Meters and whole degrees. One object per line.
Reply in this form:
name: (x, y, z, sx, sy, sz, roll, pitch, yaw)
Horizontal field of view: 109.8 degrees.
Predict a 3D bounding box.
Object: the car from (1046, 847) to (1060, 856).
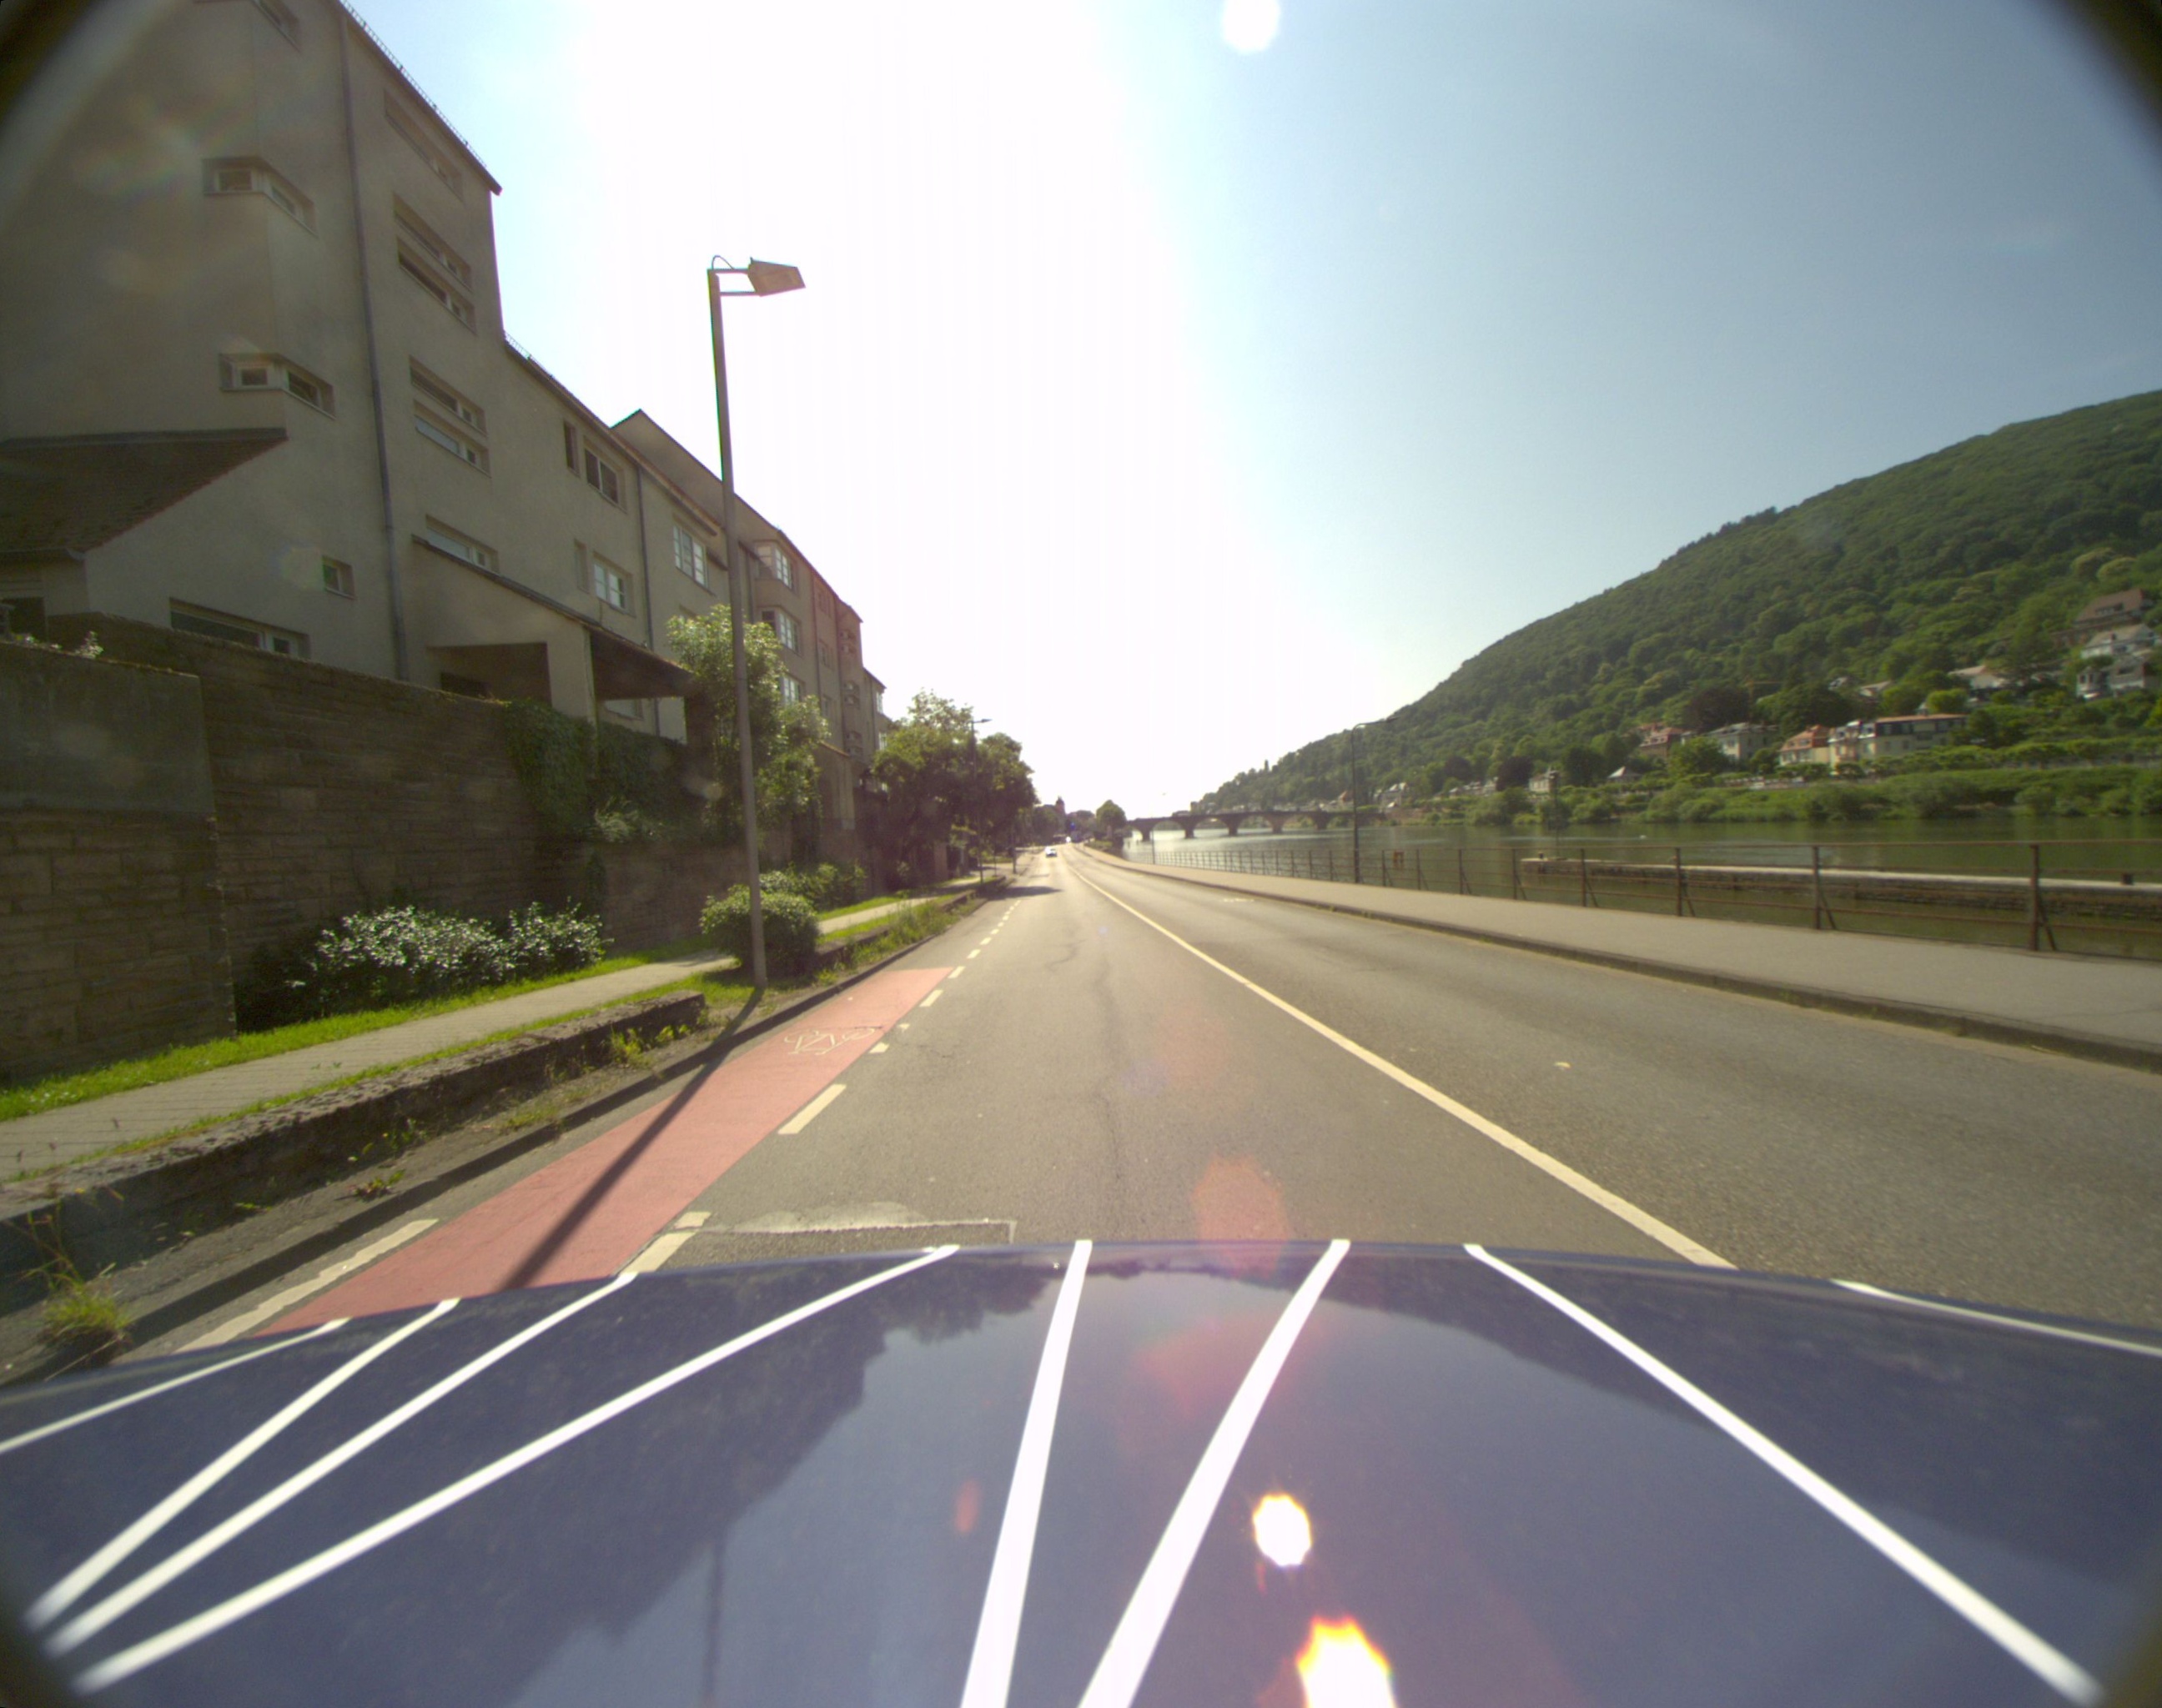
car: (-4.391, -0.414, 120.878, 1.998, 1.434, 3.999, -2, 1, 0)
